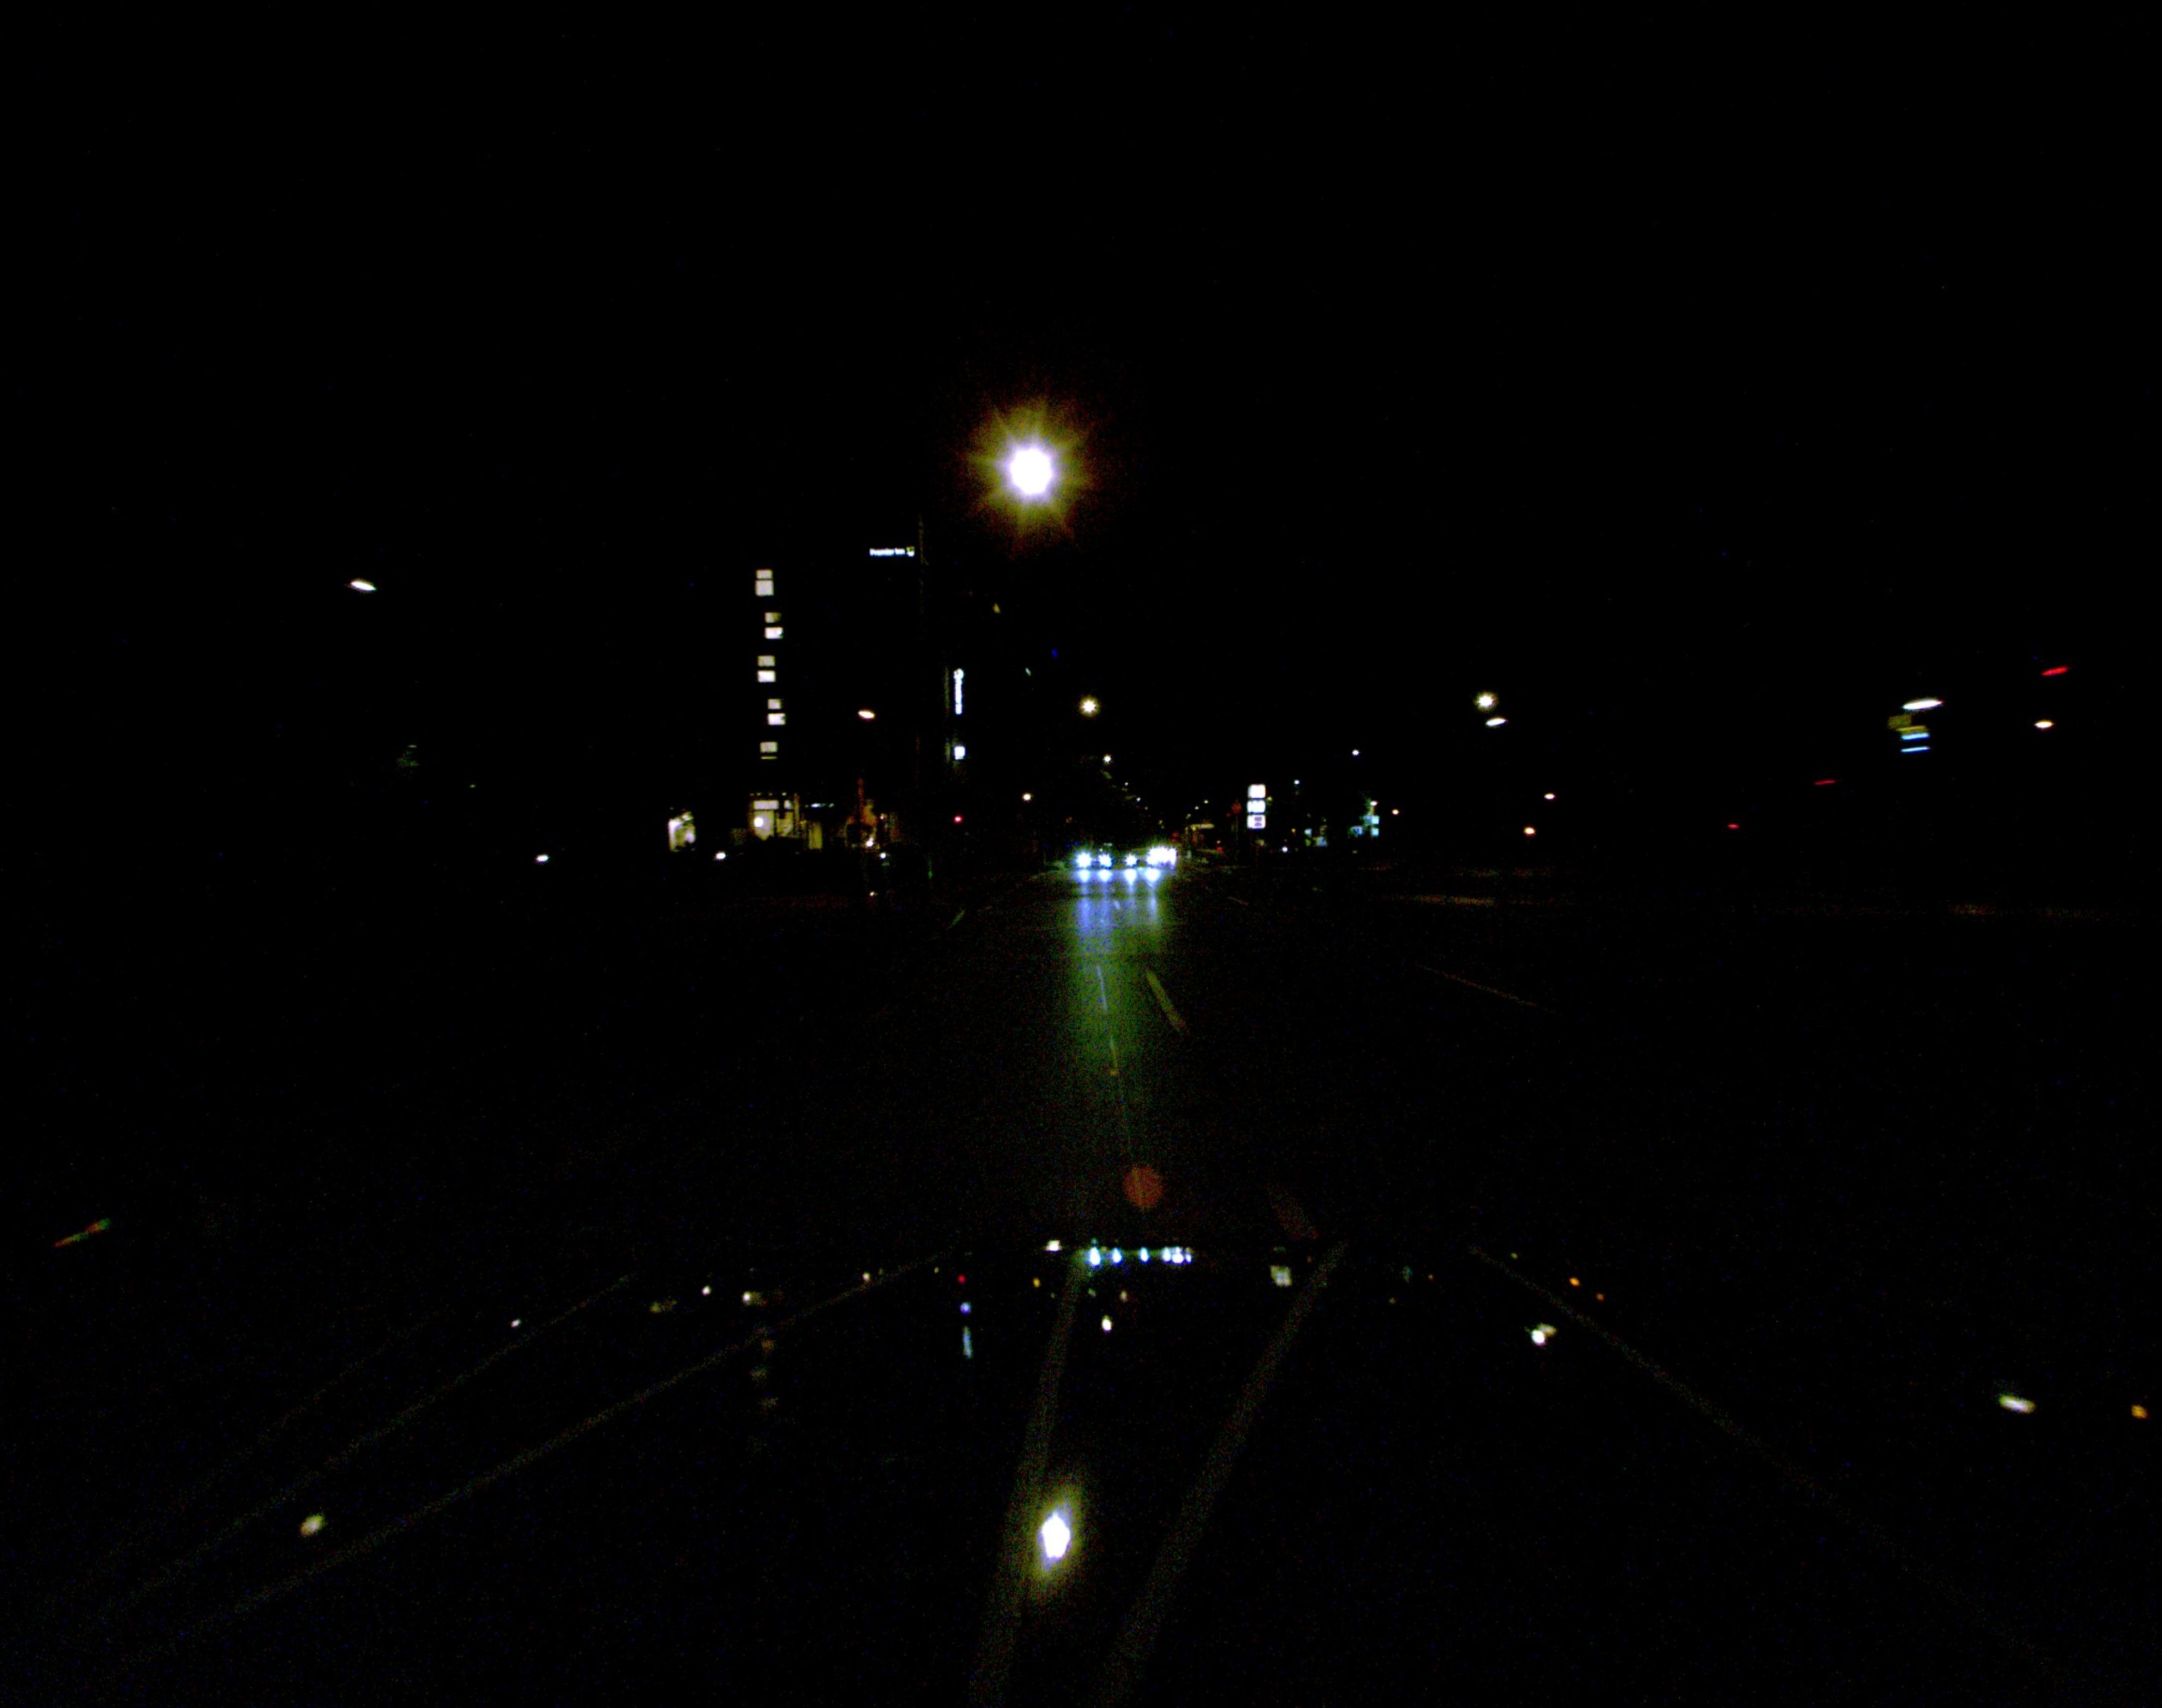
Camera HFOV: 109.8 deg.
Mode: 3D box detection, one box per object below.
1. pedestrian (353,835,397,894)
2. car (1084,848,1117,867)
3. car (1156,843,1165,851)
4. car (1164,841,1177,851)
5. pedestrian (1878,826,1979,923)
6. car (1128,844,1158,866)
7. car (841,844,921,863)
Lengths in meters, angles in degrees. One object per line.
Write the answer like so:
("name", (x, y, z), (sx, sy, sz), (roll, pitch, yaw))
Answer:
("pedestrian", (-22.868, 0.320, 24.625), (0.664, 1.866, 0.731), (-1, 1, -1))
("car", (1.443, 0.198, 55.306), (1.947, 1.299, 3.907), (1, 1, 8))
("car", (17.136, -1.441, 164.470), (1.827, 1.696, 4.001), (-1, 1, 5))
("car", (14.808, -1.290, 125.786), (1.907, 1.609, 3.719), (-1, 1, 3))
("pedestrian", (15.368, 0.352, 13.817), (1.053, 1.678, 0.822), (1, 1, 37))
("car", (4.411, 0.075, 53.848), (1.858, 1.482, 3.561), (-1, 0, 8))
("car", (-10.920, -0.004, 41.614), (4.008, 1.028, 1.480), (1, 0, -39))
